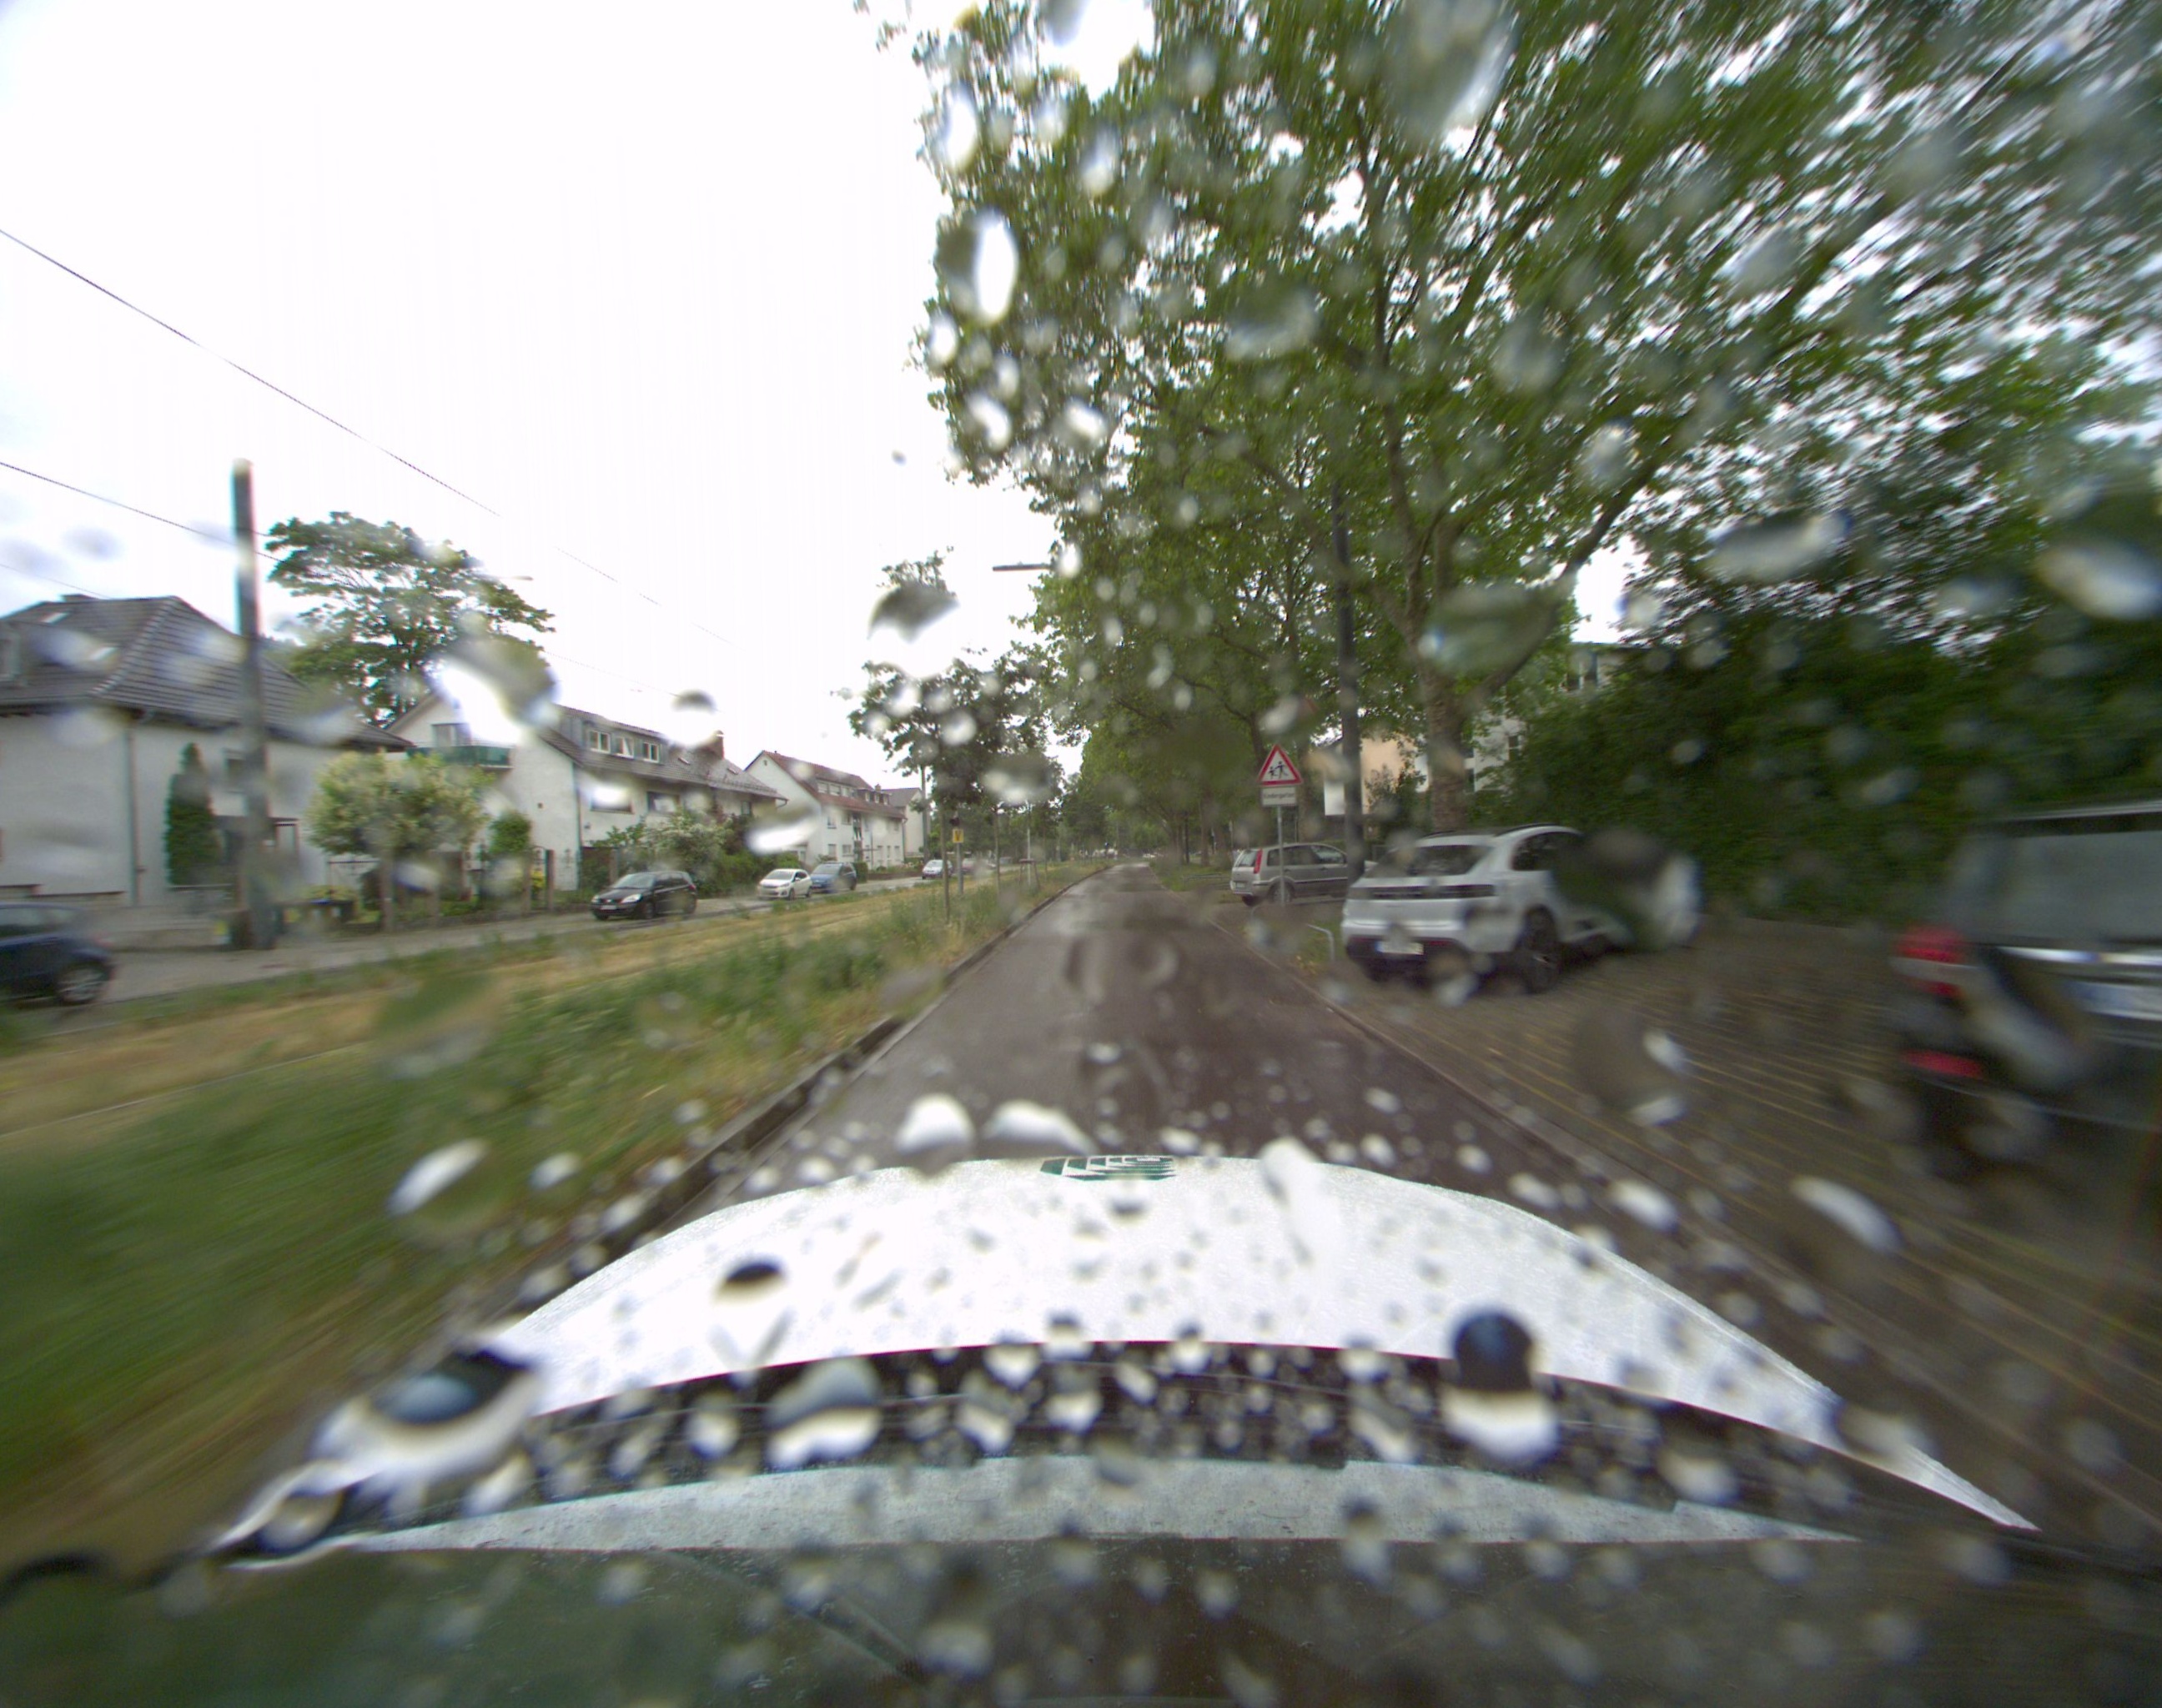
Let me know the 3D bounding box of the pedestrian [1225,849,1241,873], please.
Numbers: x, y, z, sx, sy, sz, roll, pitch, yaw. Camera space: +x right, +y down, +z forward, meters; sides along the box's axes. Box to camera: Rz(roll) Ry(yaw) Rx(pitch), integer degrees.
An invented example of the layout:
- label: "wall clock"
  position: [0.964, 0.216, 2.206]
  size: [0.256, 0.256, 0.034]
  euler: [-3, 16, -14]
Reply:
- label: "pedestrian"
  position: [10.242, 0.446, 54.861]
  size: [0.831, 1.538, 0.859]
  euler: [-3, 0, -2]

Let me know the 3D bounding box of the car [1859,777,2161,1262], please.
- label: "car"
  position: [5.110, 0.445, 3.488]
  size: [3.727, 1.566, 1.603]
  euler: [-3, 0, -31]

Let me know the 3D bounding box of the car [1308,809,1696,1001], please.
- label: "car"
  position: [5.057, 0.409, 9.525]
  size: [4.796, 1.668, 1.973]
  euler: [-3, 0, -35]

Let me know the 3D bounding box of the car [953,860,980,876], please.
- label: "car"
  position: [-11.853, 1.452, 84.334]
  size: [1.985, 1.488, 4.209]
  euler: [-1, 0, 3]

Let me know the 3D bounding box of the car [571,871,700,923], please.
- label: "car"
  position: [-15.301, 1.423, 28.264]
  size: [1.985, 1.516, 4.209]
  euler: [-1, 0, 3]

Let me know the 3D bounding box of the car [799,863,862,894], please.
- label: "car"
  position: [-14.255, 1.355, 46.575]
  size: [1.985, 1.614, 4.417]
  euler: [-1, 0, 3]

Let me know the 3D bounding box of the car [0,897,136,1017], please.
- label: "car"
  position: [-15.850, 1.479, 10.873]
  size: [1.867, 1.550, 3.871]
  euler: [-1, 0, 1]

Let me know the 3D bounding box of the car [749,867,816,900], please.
- label: "car"
  position: [-14.575, 1.415, 39.975]
  size: [1.788, 1.488, 3.600]
  euler: [-1, 0, 3]

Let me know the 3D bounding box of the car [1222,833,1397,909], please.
- label: "car"
  position: [5.703, 0.394, 20.456]
  size: [3.858, 1.566, 1.612]
  euler: [-4, 0, -13]

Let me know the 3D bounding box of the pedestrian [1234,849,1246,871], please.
- label: "pedestrian"
  position: [11.151, 0.430, 57.280]
  size: [0.555, 1.538, 0.966]
  euler: [-3, 0, -2]

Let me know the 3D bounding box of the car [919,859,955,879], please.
- label: "car"
  position: [-12.413, 1.277, 70.479]
  size: [1.985, 1.581, 4.520]
  euler: [-1, 0, 3]
